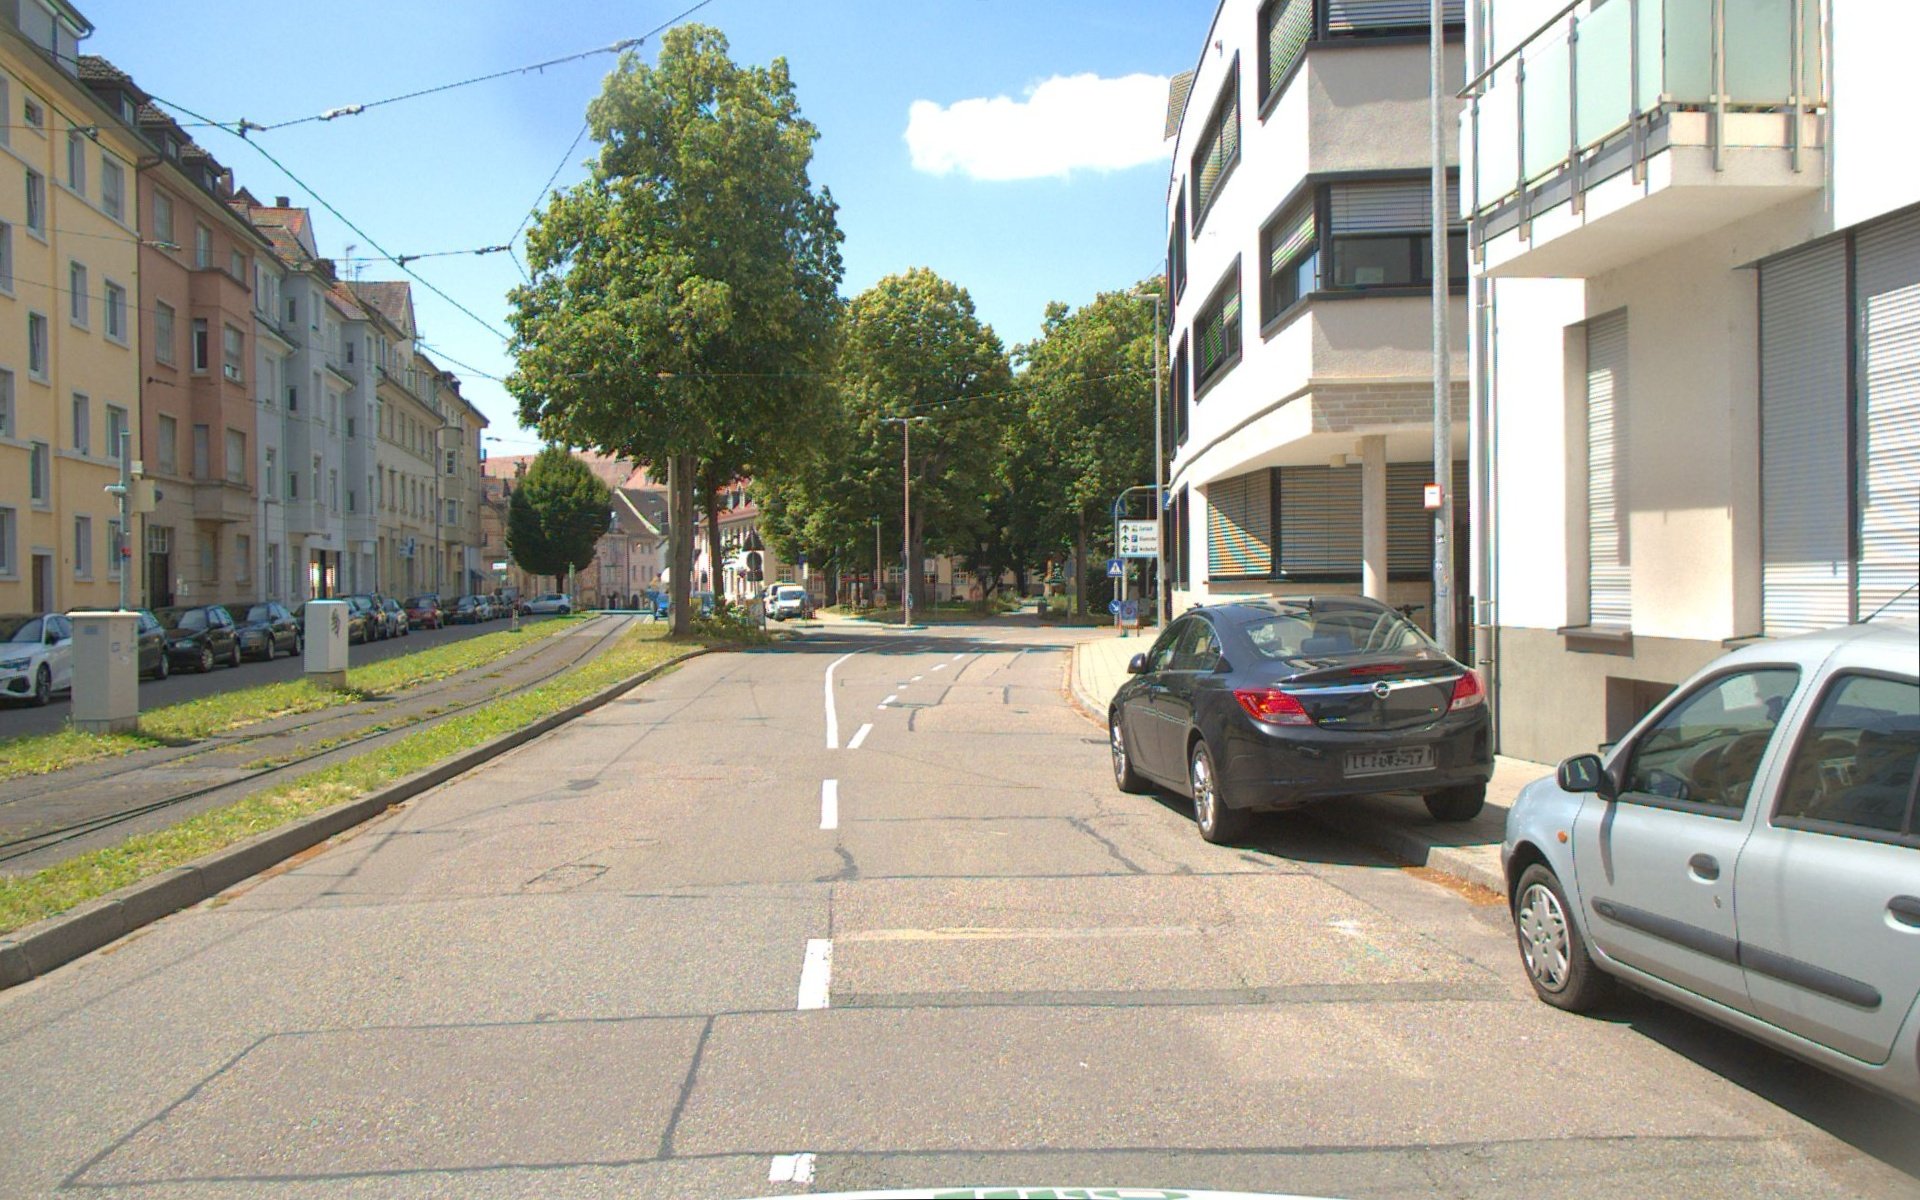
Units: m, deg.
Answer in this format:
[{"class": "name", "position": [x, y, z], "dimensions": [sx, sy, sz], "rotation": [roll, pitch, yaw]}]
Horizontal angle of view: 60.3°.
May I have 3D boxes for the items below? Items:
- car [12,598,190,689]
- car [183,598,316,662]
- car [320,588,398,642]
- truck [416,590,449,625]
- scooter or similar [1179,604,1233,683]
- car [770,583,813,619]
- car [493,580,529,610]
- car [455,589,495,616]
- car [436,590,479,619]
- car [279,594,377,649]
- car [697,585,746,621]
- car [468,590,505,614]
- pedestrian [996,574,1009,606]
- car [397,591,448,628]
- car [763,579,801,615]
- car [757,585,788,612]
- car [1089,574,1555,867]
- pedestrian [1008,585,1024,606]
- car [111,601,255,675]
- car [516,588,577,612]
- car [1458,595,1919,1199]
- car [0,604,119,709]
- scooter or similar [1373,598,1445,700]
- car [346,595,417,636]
[{"class": "car", "position": [-16.465, 0.769, 31.941], "dimensions": [1.894, 1.531, 4.313], "rotation": [-2, 1, -12]}, {"class": "car", "position": [-18.027, 0.714, 42.200], "dimensions": [1.892, 1.422, 4.853], "rotation": [-2, 1, -9]}, {"class": "car", "position": [-20.777, 0.484, 57.337], "dimensions": [1.803, 1.715, 4.133], "rotation": [-2, 1, -10]}, {"class": "truck", "position": [-24.355, 0.323, 76.426], "dimensions": [1.106, 1.520, 2.587], "rotation": [-2, 1, -11]}, {"class": "scooter or similar", "position": [4.183, 0.723, 28.196], "dimensions": [0.570, 1.282, 1.366], "rotation": [-3, 0, -4]}, {"class": "car", "position": [-8.956, 0.025, 87.712], "dimensions": [1.957, 1.858, 4.411], "rotation": [0, 1, -10]}, {"class": "car", "position": [-30.162, -0.369, 111.288], "dimensions": [1.820, 1.944, 4.760], "rotation": [-2, 1, -10]}, {"class": "car", "position": [-27.132, 0.136, 92.644], "dimensions": [1.656, 1.414, 3.848], "rotation": [-2, 1, -10]}, {"class": "car", "position": [-26.433, 0.208, 87.024], "dimensions": [1.656, 1.384, 3.848], "rotation": [-2, 1, -10]}, {"class": "car", "position": [-19.709, 0.638, 51.763], "dimensions": [1.893, 1.516, 4.852], "rotation": [-2, 1, -10]}, {"class": "car", "position": [-10.708, 0.126, 74.105], "dimensions": [1.870, 1.560, 4.231], "rotation": [0, 0, -12]}, {"class": "car", "position": [-27.877, 0.102, 97.446], "dimensions": [1.656, 1.300, 3.281], "rotation": [-2, 1, -10]}, {"class": "pedestrian", "position": [2.566, -0.598, 100.317], "dimensions": [0.732, 1.944, 0.685], "rotation": [0, 2, 5]}, {"class": "car", "position": [-23.386, 0.389, 72.068], "dimensions": [1.543, 1.476, 3.617], "rotation": [-2, 1, -10]}, {"class": "car", "position": [-10.369, -0.210, 96.219], "dimensions": [2.011, 2.037, 5.239], "rotation": [0, 1, -9]}, {"class": "car", "position": [-11.744, -0.132, 103.536], "dimensions": [1.750, 1.652, 4.477], "rotation": [0, 1, -9]}, {"class": "car", "position": [2.268, 0.692, 11.740], "dimensions": [1.766, 1.535, 4.541], "rotation": [-4, 0, -7]}, {"class": "pedestrian", "position": [3.395, -0.269, 100.229], "dimensions": [0.886, 1.273, 1.149], "rotation": [0, 2, 5]}, {"class": "car", "position": [-17.128, 0.796, 36.684], "dimensions": [1.797, 1.424, 4.133], "rotation": [-2, 1, -10]}, {"class": "car", "position": [-29.292, 0.005, 117.324], "dimensions": [4.132, 1.531, 1.997], "rotation": [-2, 1, -14]}, {"class": "car", "position": [3.058, 0.766, 5.117], "dimensions": [1.562, 1.458, 3.703], "rotation": [-4, 0, -5]}, {"class": "car", "position": [-15.265, 0.887, 26.661], "dimensions": [1.894, 1.476, 4.363], "rotation": [-3, 1, -12]}, {"class": "scooter or similar", "position": [5.657, 0.595, 20.906], "dimensions": [0.414, 1.232, 1.313], "rotation": [-1, 0, -6]}, {"class": "car", "position": [-21.621, 0.547, 61.964], "dimensions": [1.774, 1.380, 4.240], "rotation": [-2, 1, -10]}]
